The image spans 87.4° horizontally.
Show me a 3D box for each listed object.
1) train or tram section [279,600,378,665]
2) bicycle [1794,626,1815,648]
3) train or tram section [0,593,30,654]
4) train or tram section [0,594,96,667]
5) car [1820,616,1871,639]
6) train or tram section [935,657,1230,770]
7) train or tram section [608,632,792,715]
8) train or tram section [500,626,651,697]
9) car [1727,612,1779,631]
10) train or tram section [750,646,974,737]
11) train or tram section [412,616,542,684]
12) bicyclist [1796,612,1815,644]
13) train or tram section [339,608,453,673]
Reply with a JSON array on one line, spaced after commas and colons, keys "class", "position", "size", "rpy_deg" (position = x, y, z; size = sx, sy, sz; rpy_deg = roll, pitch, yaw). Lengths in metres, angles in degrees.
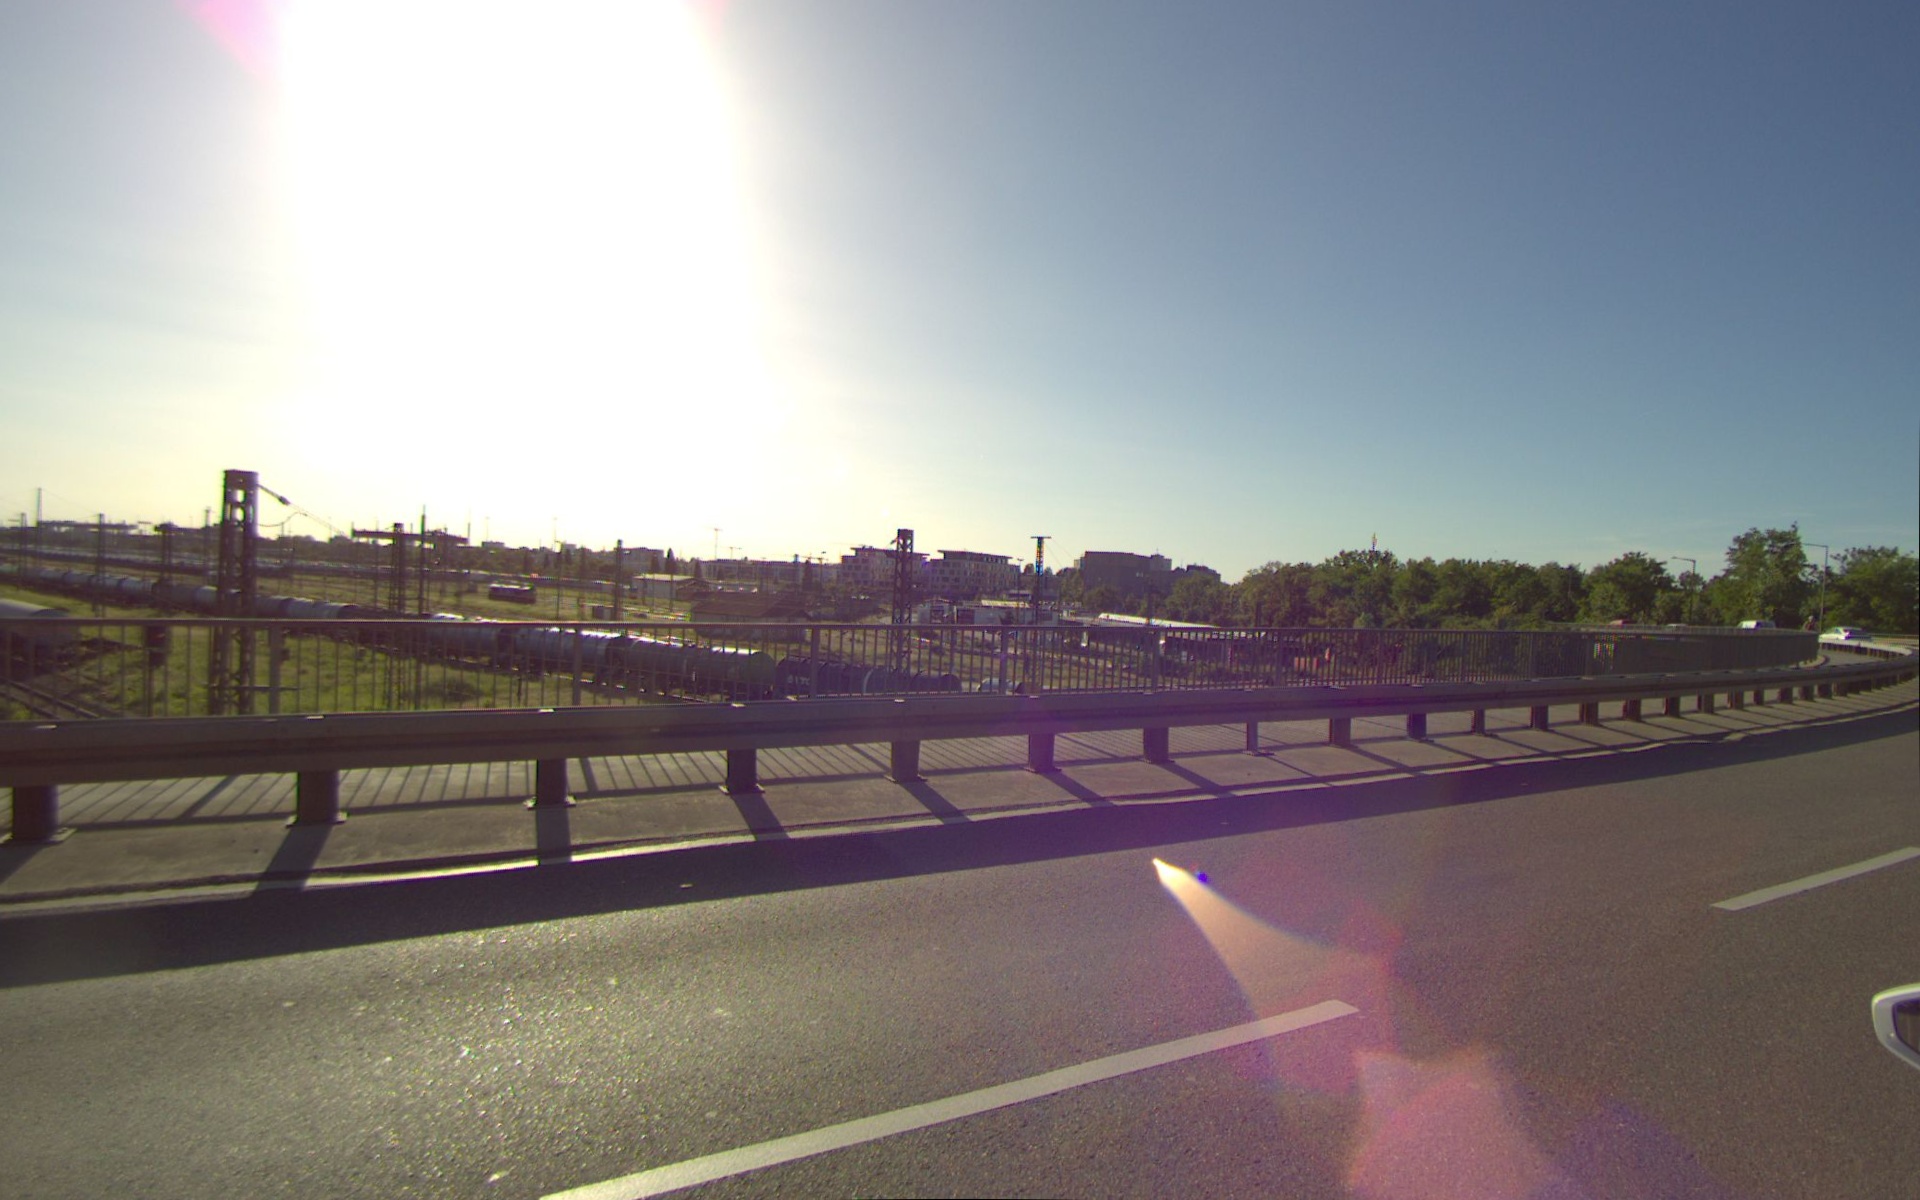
[{"class": "train or tram section", "position": [-72.082, 3.539, 114.388], "size": [16.239, 6.699, 3.892], "rpy_deg": [1, 0, 37]}, {"class": "bicycle", "position": [44.084, 1.911, 52.422], "size": [0.645, 1.079, 1.884], "rpy_deg": [1, 0, 34]}, {"class": "train or tram section", "position": [-89.364, 1.899, 90.921], "size": [17.890, 5.154, 4.035], "rpy_deg": [1, 0, 36]}, {"class": "train or tram section", "position": [-74.406, 2.174, 80.057], "size": [19.036, 5.154, 4.035], "rpy_deg": [1, 0, 36]}, {"class": "car", "position": [64.324, 1.968, 73.032], "size": [1.831, 1.606, 3.910], "rpy_deg": [1, 0, 27]}, {"class": "train or tram section", "position": [6.294, 5.918, 55.672], "size": [16.499, 4.652, 3.892], "rpy_deg": [1, 0, 37]}, {"class": "train or tram section", "position": [-19.758, 5.207, 75.181], "size": [16.399, 5.083, 3.892], "rpy_deg": [1, 0, 37]}, {"class": "train or tram section", "position": [-32.762, 4.971, 84.955], "size": [16.103, 5.083, 3.892], "rpy_deg": [1, 0, 37]}, {"class": "car", "position": [69.816, 1.882, 88.529], "size": [1.804, 1.576, 3.895], "rpy_deg": [1, 0, 6]}, {"class": "train or tram section", "position": [-6.768, 5.680, 65.455], "size": [16.049, 4.652, 3.892], "rpy_deg": [1, 0, 37]}, {"class": "train or tram section", "position": [-45.724, 4.510, 94.649], "size": [16.239, 5.592, 3.892], "rpy_deg": [1, 0, 37]}, {"class": "bicyclist", "position": [44.038, 1.445, 52.340], "size": [0.645, 1.610, 0.766], "rpy_deg": [1, 0, 35]}, {"class": "train or tram section", "position": [-58.882, 4.031, 104.516], "size": [16.687, 6.089, 3.892], "rpy_deg": [1, 0, 37]}]
